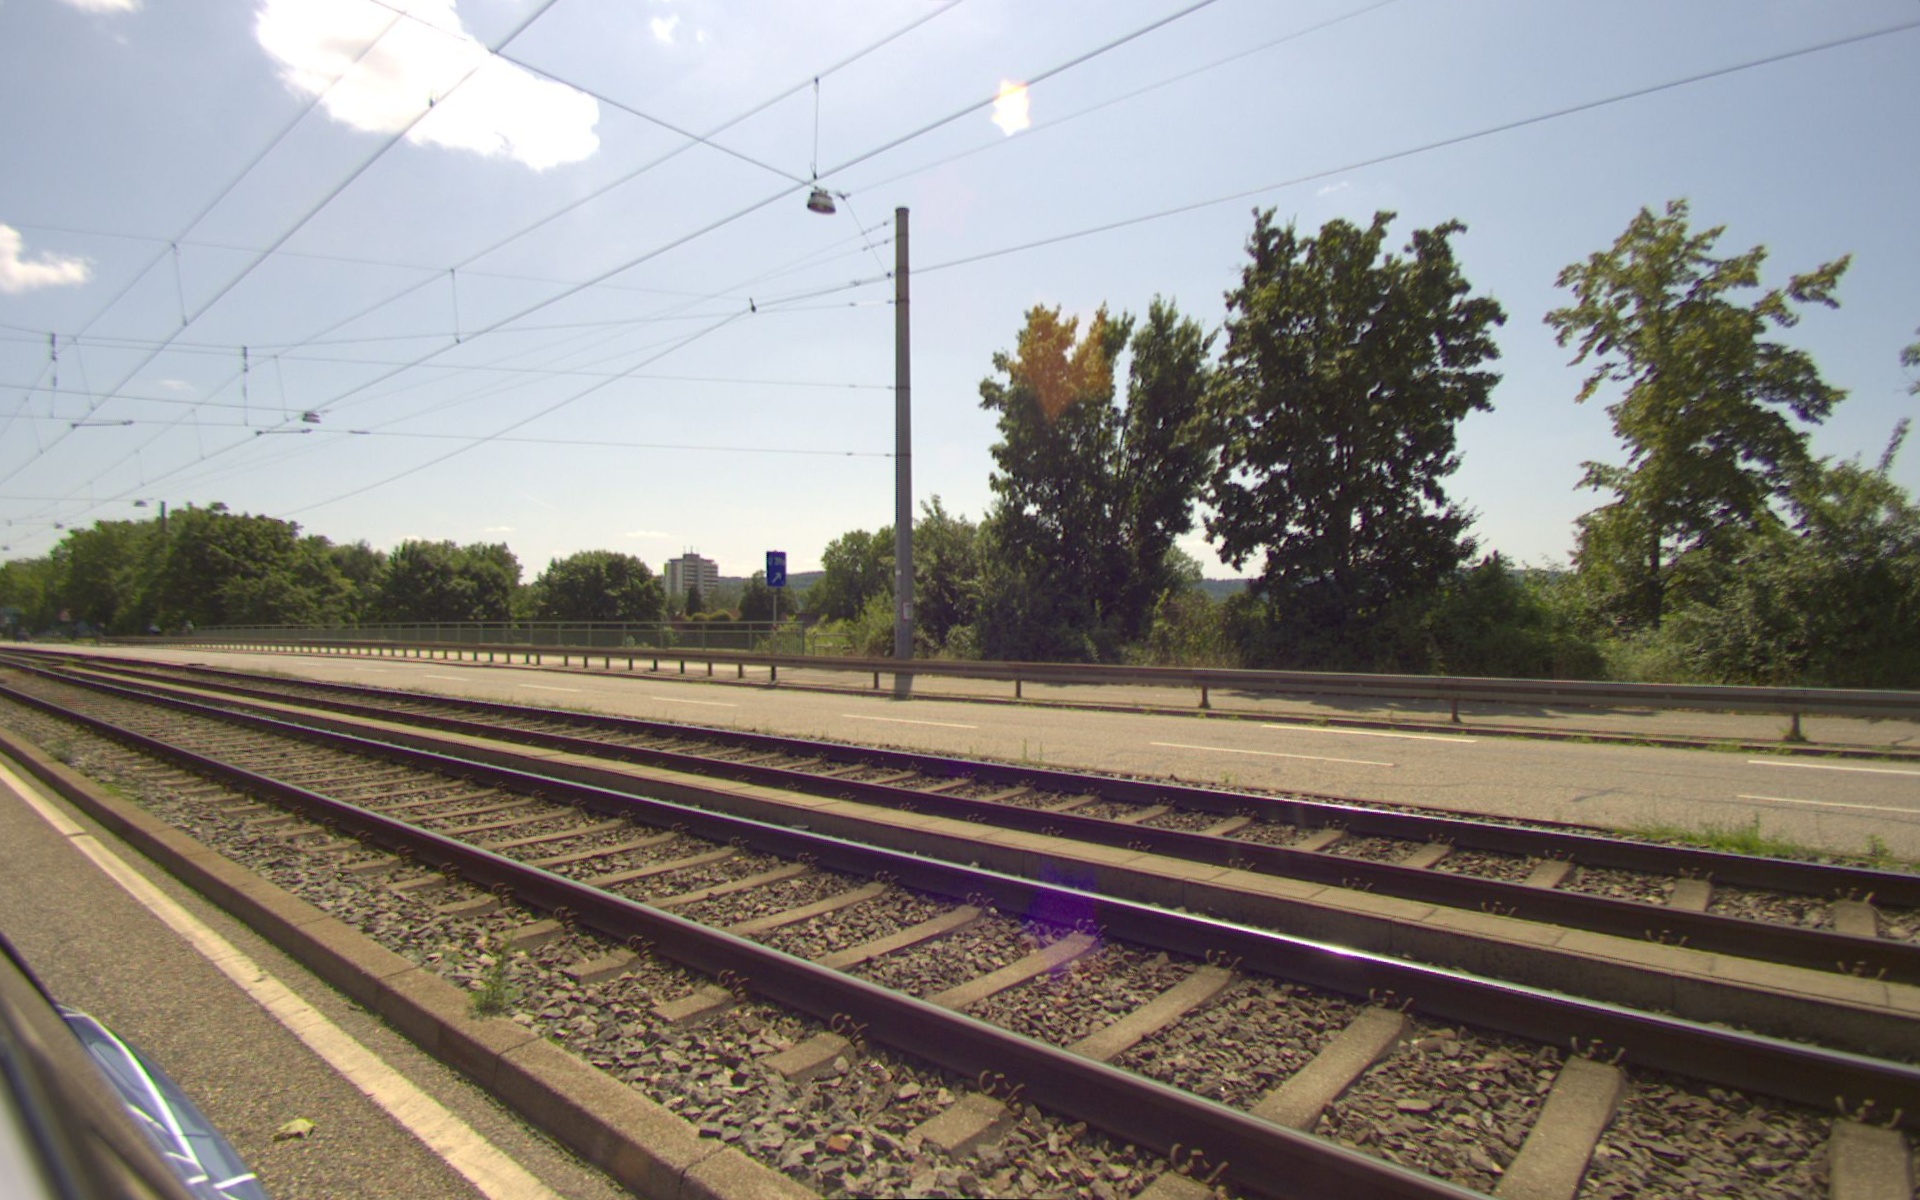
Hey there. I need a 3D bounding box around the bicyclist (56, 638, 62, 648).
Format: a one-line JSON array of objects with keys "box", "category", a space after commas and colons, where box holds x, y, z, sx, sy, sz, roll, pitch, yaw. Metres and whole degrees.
[{"box": [-131.658, 6.230, 147.840, 0.562, 1.378, 0.632, -1, 0, -44], "category": "bicyclist"}]

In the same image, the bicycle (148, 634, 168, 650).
[{"box": [-61.907, 3.205, 78.082, 2.061, 1.194, 0.848, -2, -1, 41], "category": "bicycle"}]

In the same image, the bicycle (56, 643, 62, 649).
[{"box": [-131.651, 6.715, 147.836, 0.579, 0.825, 2.070, -2, 1, -43], "category": "bicycle"}]

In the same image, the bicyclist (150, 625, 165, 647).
[{"box": [-62.001, 2.760, 78.155, 0.837, 1.634, 0.755, -2, -1, 41], "category": "bicyclist"}]

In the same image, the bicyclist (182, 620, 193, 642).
[{"box": [-53.516, 2.117, 70.127, 0.529, 1.509, 0.515, -2, -1, 40], "category": "bicyclist"}]

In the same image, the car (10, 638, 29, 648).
[{"box": [-128.065, 5.802, 137.806, 3.927, 1.357, 1.546, -2, -3, 42], "category": "car"}]

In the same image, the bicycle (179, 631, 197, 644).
[{"box": [-53.483, 2.618, 70.103, 2.034, 0.849, 0.517, -2, 0, 40], "category": "bicycle"}]
